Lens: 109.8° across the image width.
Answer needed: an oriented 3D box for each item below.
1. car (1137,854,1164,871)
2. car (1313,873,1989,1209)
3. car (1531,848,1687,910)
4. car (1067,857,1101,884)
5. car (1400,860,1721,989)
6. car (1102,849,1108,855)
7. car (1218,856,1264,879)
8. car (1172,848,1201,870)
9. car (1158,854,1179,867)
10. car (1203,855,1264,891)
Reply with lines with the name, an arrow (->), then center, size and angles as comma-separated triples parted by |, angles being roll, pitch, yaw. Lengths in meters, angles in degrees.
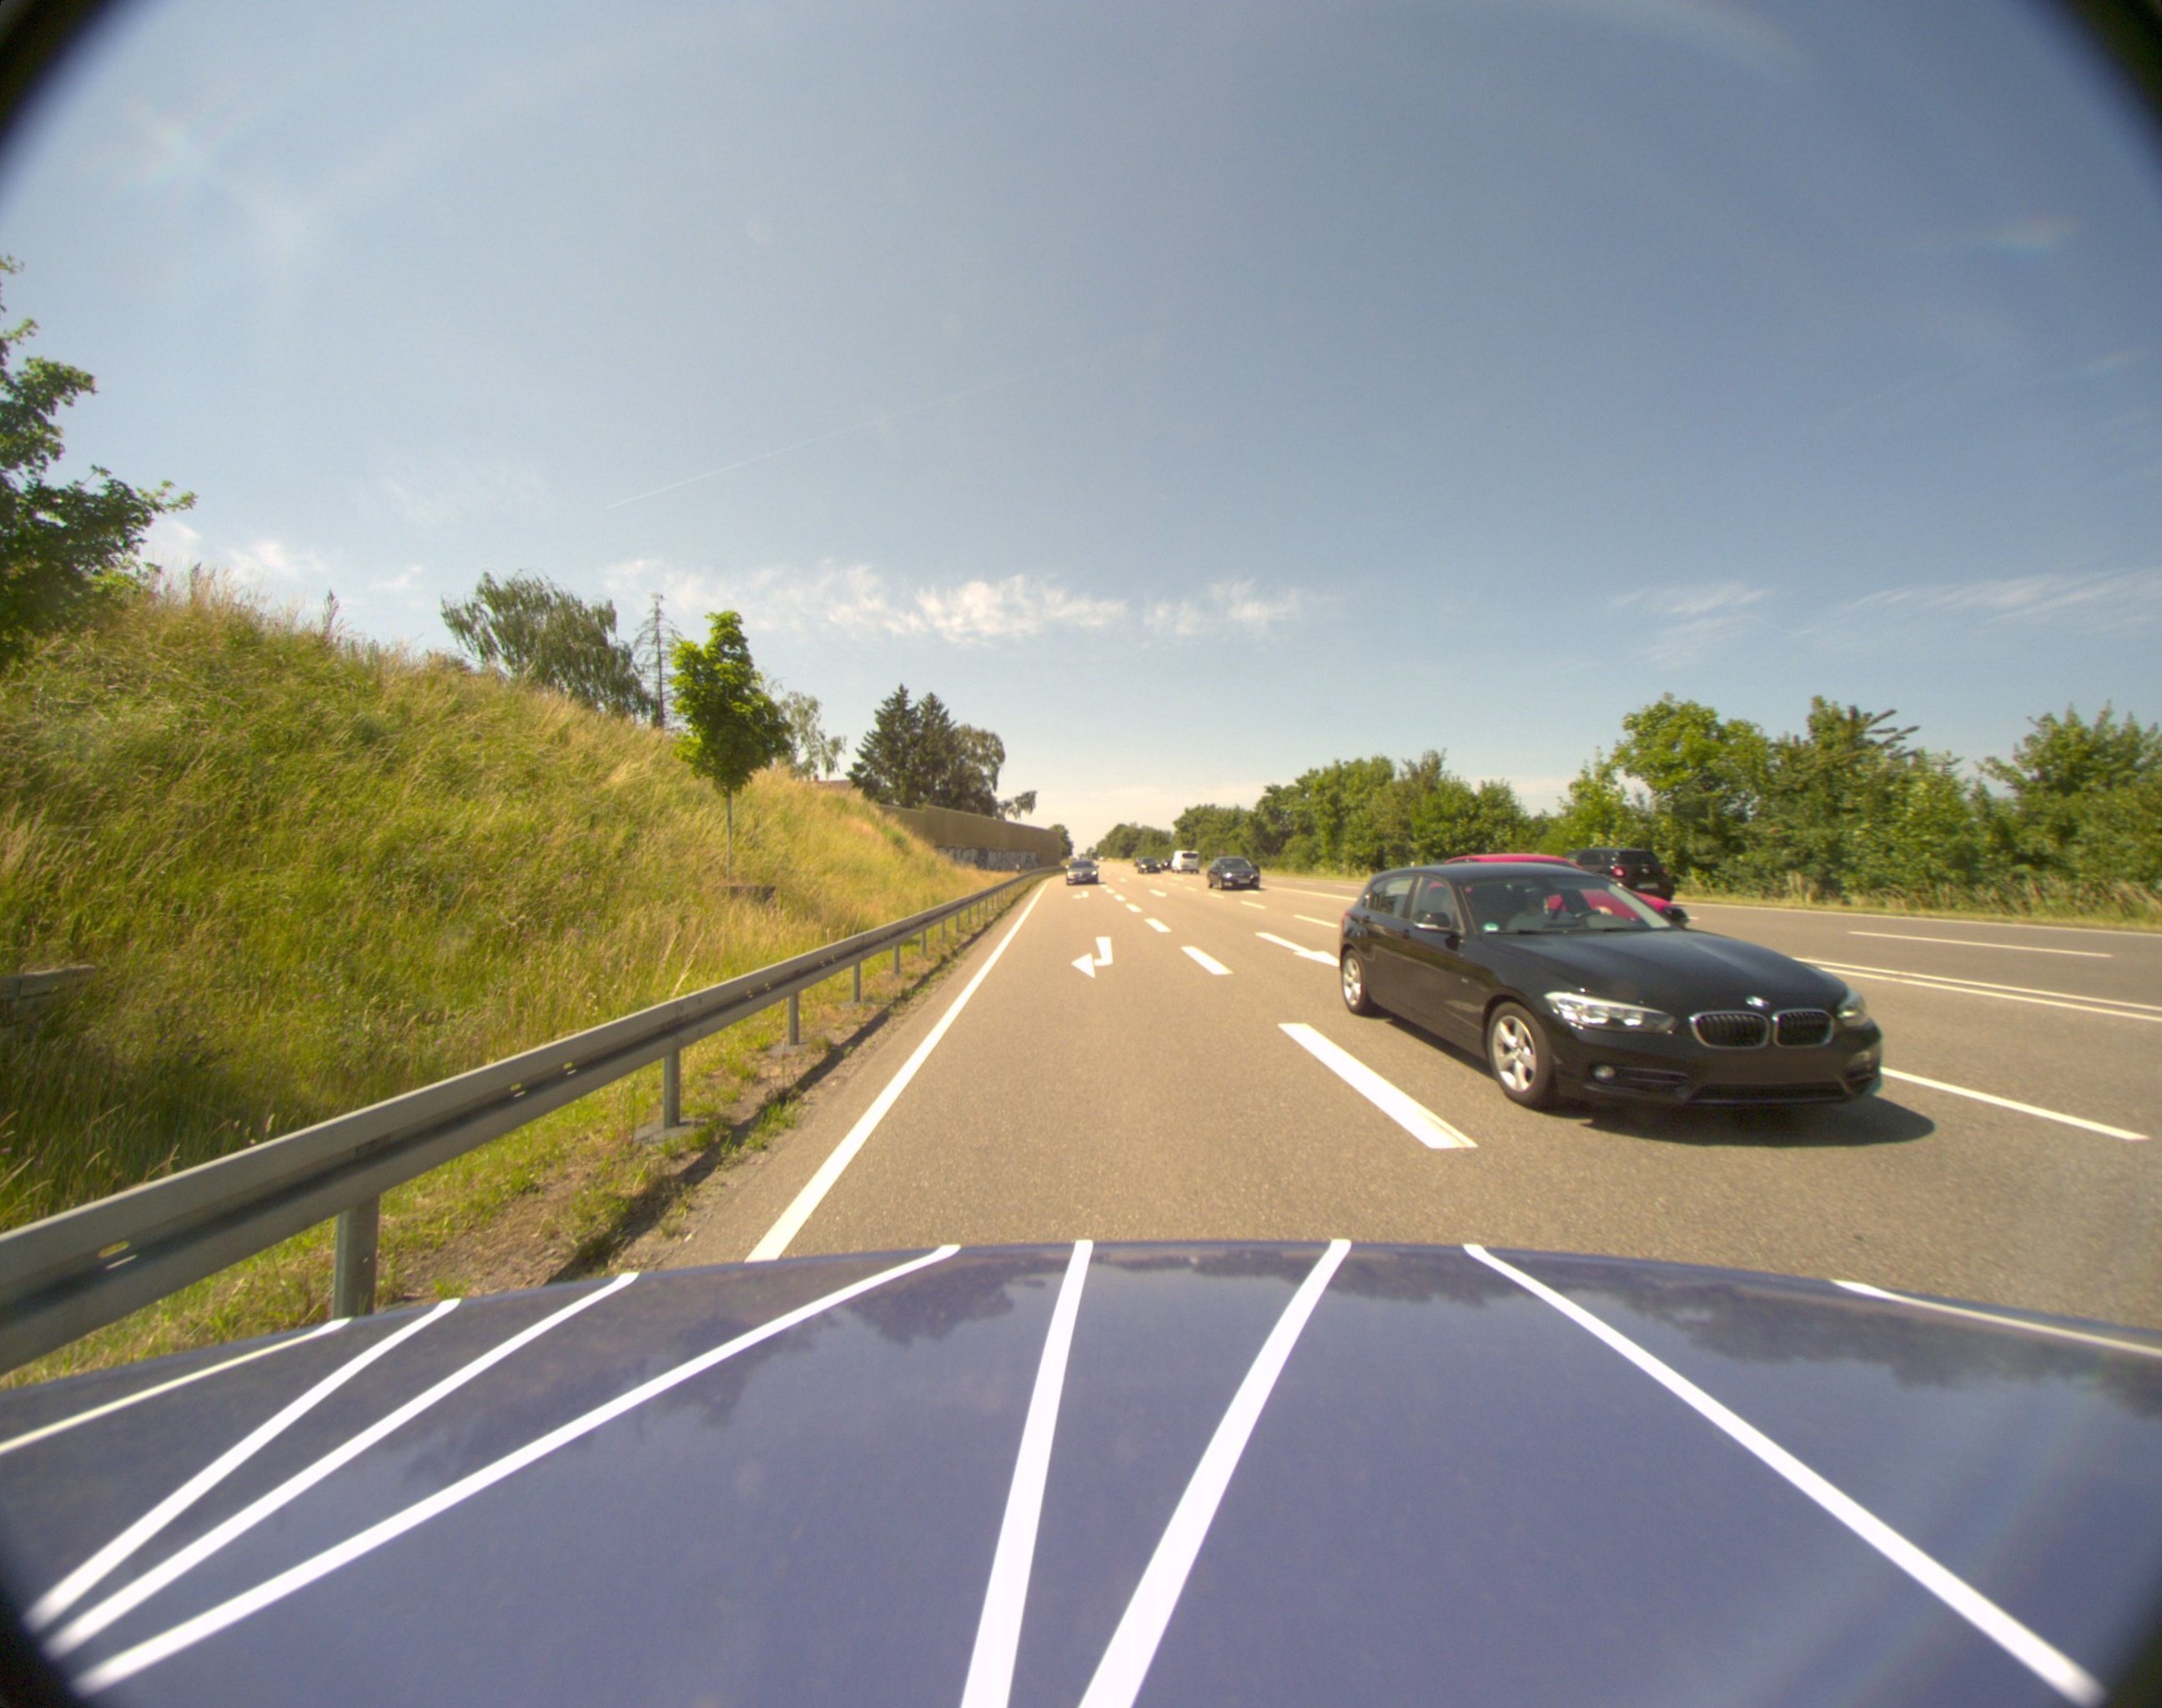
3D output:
car -> 6.281, 0.749, 69.120 | 1.894, 1.439, 4.525 | -2, 0, -1
car -> 3.343, 0.928, 5.749 | 1.789, 1.422, 4.380 | -2, 0, 0
car -> 14.097, 0.600, 20.552 | 1.649, 1.479, 3.558 | -2, 0, -2
car -> 0.176, 0.948, 45.704 | 1.894, 1.439, 4.525 | -2, 0, 0
car -> 6.534, 0.838, 11.118 | 1.753, 1.413, 4.566 | -2, 0, -1
car -> 7.715, -0.709, 242.756 | 1.747, 1.808, 3.999 | -2, 1, -1
car -> 9.957, 0.817, 47.676 | 1.810, 1.272, 4.765 | -1, 0, -1
car -> 9.543, 0.472, 69.072 | 1.910, 1.906, 5.050 | 0, 0, -1
car -> 9.534, 0.681, 82.900 | 1.555, 1.326, 4.853 | -1, 0, -3
car -> 6.693, 0.809, 33.740 | 1.679, 1.403, 4.466 | -2, 0, -1
